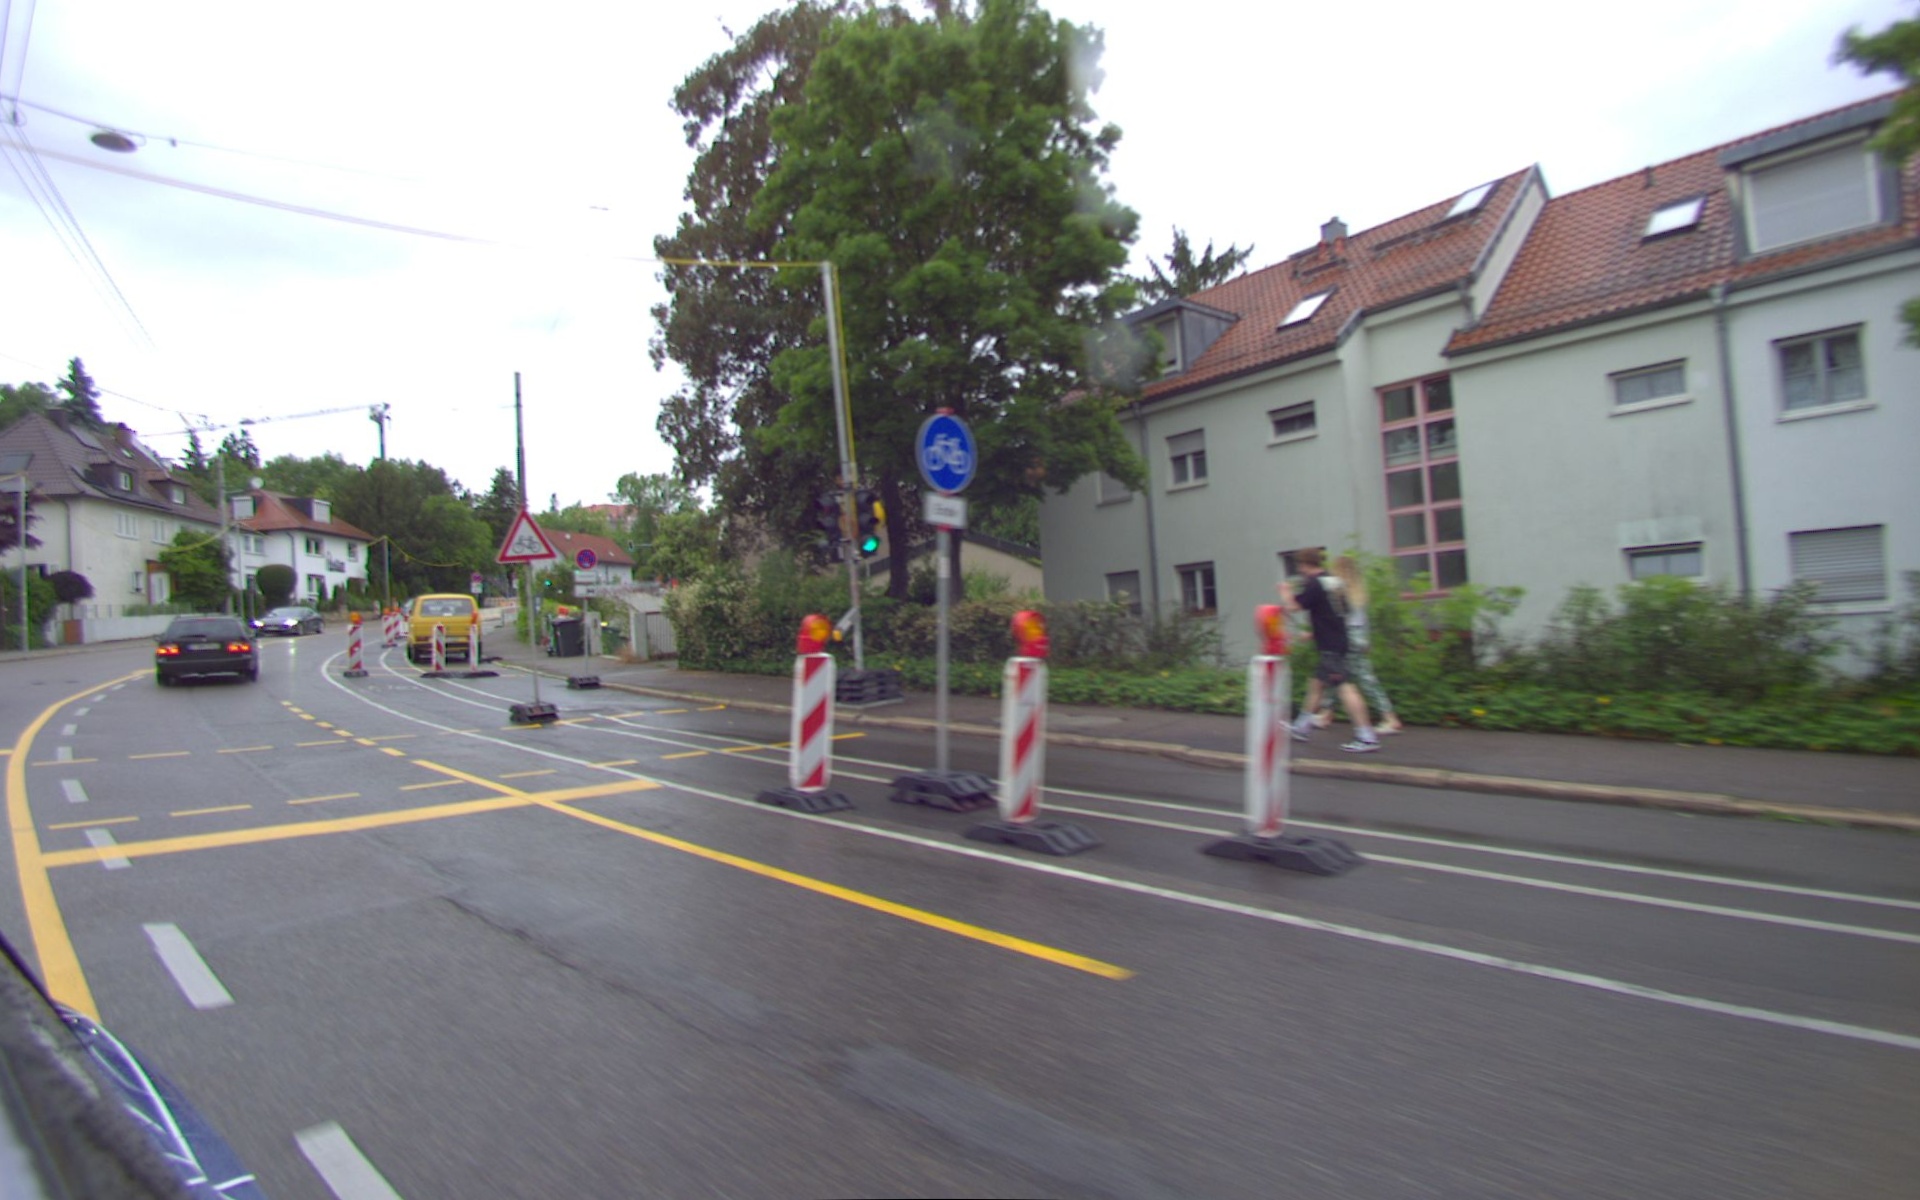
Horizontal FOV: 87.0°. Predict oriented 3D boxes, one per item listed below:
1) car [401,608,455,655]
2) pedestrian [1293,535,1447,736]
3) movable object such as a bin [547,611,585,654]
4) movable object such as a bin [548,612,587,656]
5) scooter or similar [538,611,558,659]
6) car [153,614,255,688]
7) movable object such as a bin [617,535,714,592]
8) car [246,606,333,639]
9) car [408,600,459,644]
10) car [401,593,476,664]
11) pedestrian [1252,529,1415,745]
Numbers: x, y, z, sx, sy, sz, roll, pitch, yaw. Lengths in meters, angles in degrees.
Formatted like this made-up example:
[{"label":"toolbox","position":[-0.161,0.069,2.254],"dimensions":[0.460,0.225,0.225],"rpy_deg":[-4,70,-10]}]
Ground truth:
[{"label":"car","position":[-18.286,1.035,34.755],"dimensions":[1.552,1.465,3.476],"rpy_deg":[-1,1,-28]},{"label":"pedestrian","position":[3.965,0.331,9.819],"dimensions":[1.155,1.830,0.674],"rpy_deg":[-3,0,41]},{"label":"movable object such as a bin","position":[-11.193,0.909,28.752],"dimensions":[0.847,1.148,0.714],"rpy_deg":[-2,2,-32]},{"label":"movable object such as a bin","position":[-10.879,0.923,28.061],"dimensions":[0.847,1.148,0.714],"rpy_deg":[-2,2,-32]},{"label":"scooter or similar","position":[-11.737,0.985,28.861],"dimensions":[0.393,1.269,1.322],"rpy_deg":[-5,3,-20]},{"label":"car","position":[-16.818,1.061,22.666],"dimensions":[1.676,1.472,4.695],"rpy_deg":[0,-1,-35]},{"label":"movable object such as a bin","position":[-35.819,-4.418,123.455],"dimensions":[8.968,6.601,7.008],"rpy_deg":[-1,2,14]},{"label":"car","position":[-33.847,1.096,51.260],"dimensions":[1.958,1.447,4.524],"rpy_deg":[-2,1,-9]},{"label":"car","position":[-21.082,0.840,40.463],"dimensions":[1.696,1.620,4.477],"rpy_deg":[-2,1,-28]},{"label":"car","position":[-15.670,0.789,30.288],"dimensions":[1.778,1.942,4.591],"rpy_deg":[0,0,-30]},{"label":"pedestrian","position":[3.395,0.324,9.231],"dimensions":[1.146,1.830,0.700],"rpy_deg":[-3,0,41]}]
